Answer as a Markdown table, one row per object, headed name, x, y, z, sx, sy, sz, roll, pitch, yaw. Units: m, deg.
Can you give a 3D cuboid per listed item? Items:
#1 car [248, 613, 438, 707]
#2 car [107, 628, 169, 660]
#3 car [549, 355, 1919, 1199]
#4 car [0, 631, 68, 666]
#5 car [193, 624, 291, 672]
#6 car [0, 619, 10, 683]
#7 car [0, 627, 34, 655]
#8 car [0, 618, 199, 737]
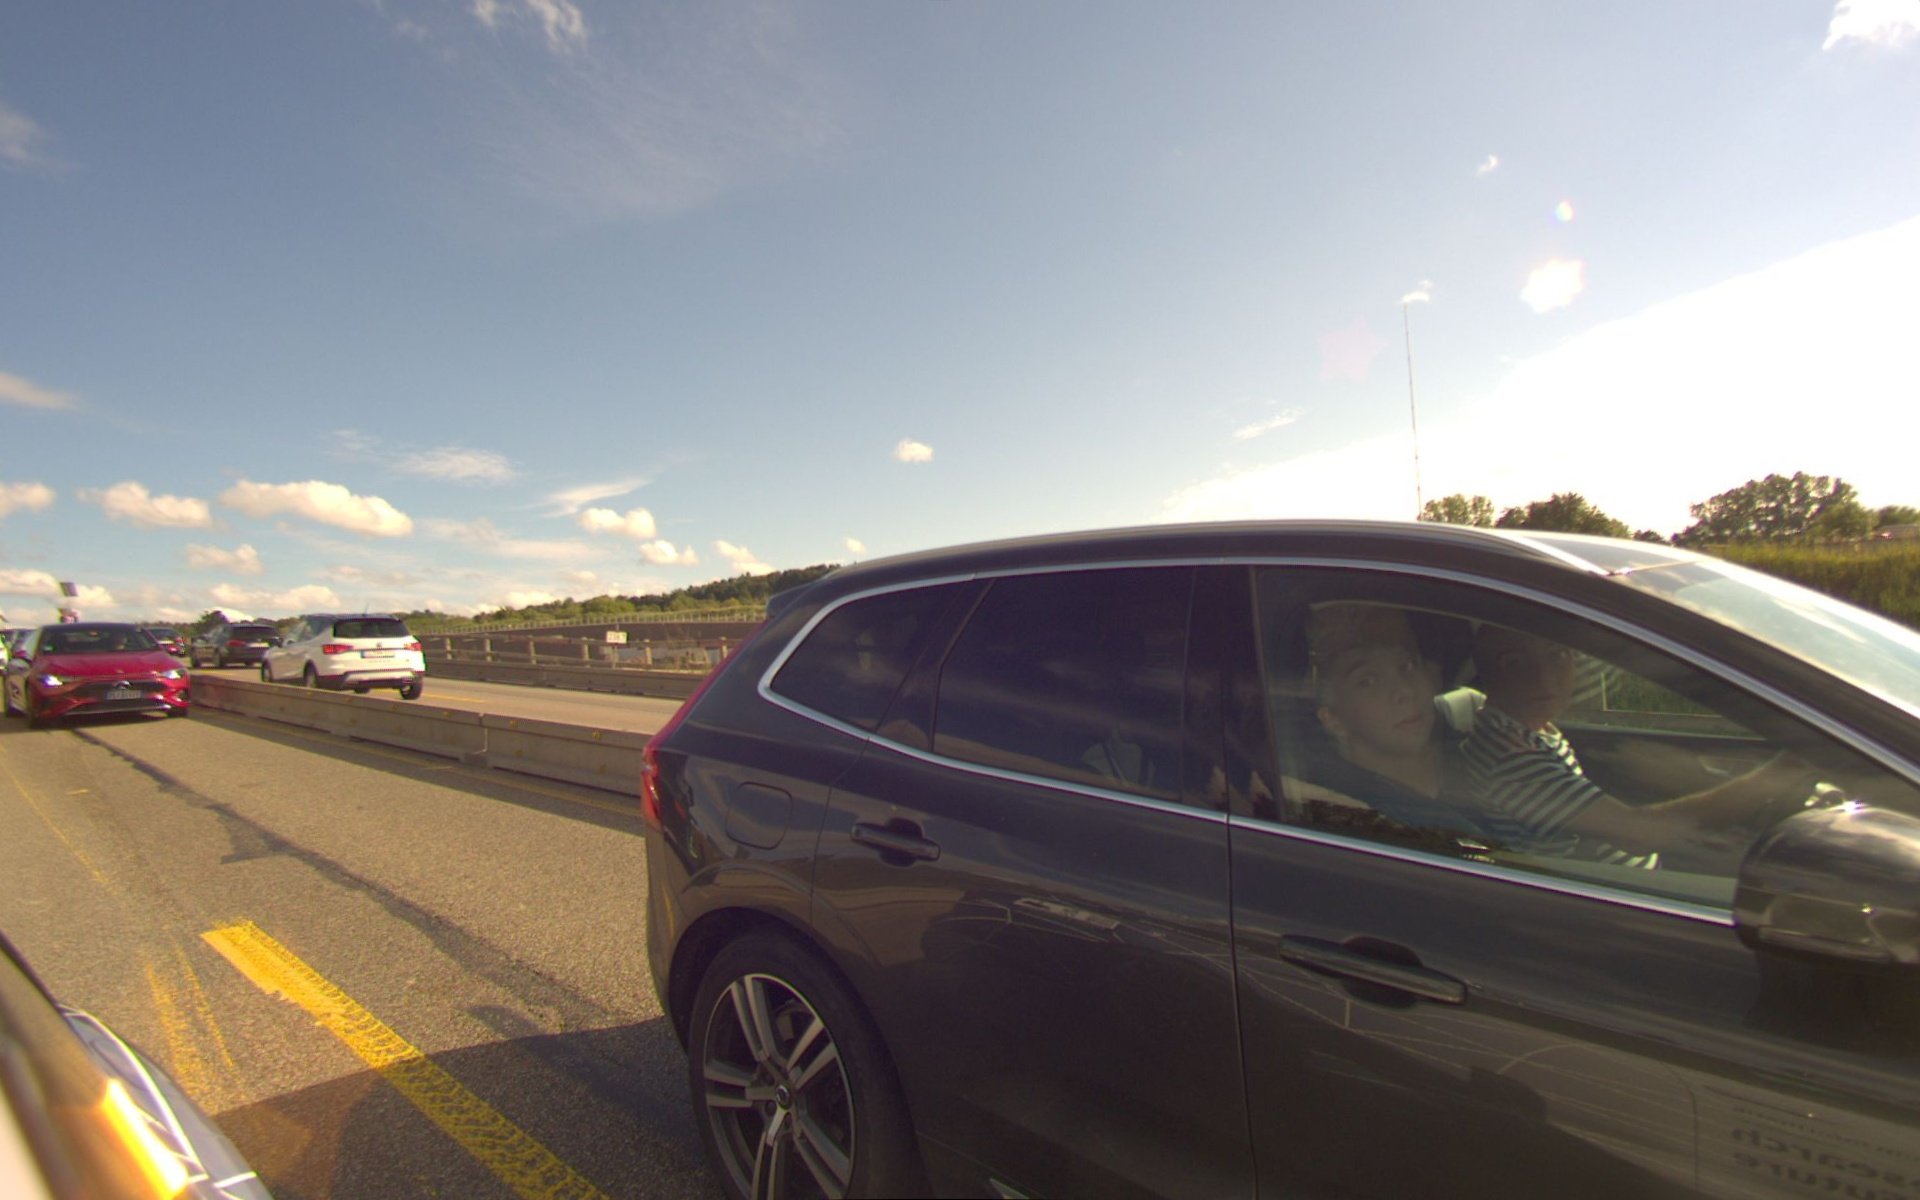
| name | x | y | z | sx | sy | sz | roll | pitch | yaw |
| --- | --- | --- | --- | --- | --- | --- | --- | --- | --- |
| car | -11.181 | 1.020 | 18.245 | 3.998 | 1.503 | 1.804 | -1 | -2 | 41 |
| car | -40.080 | 2.122 | 49.335 | 4.000 | 1.503 | 1.803 | -2 | -2 | 43 |
| car | 1.281 | 0.597 | 1.948 | 4.748 | 1.637 | 1.972 | -1 | -1 | 42 |
| car | -41.719 | 2.145 | 45.546 | 3.998 | 1.503 | 1.804 | -1 | -2 | 41 |
| car | -23.657 | 1.541 | 33.275 | 4.325 | 1.503 | 1.803 | -2 | -2 | 43 |
| car | -30.036 | 1.539 | 30.373 | 4.454 | 1.837 | 1.804 | -2 | 0 | 42 |
| car | -54.133 | 2.303 | 57.494 | 3.998 | 1.503 | 1.804 | -1 | -2 | 41 |
| car | -13.300 | 1.066 | 15.437 | 4.683 | 1.503 | 1.804 | -1 | 0 | 42 |
